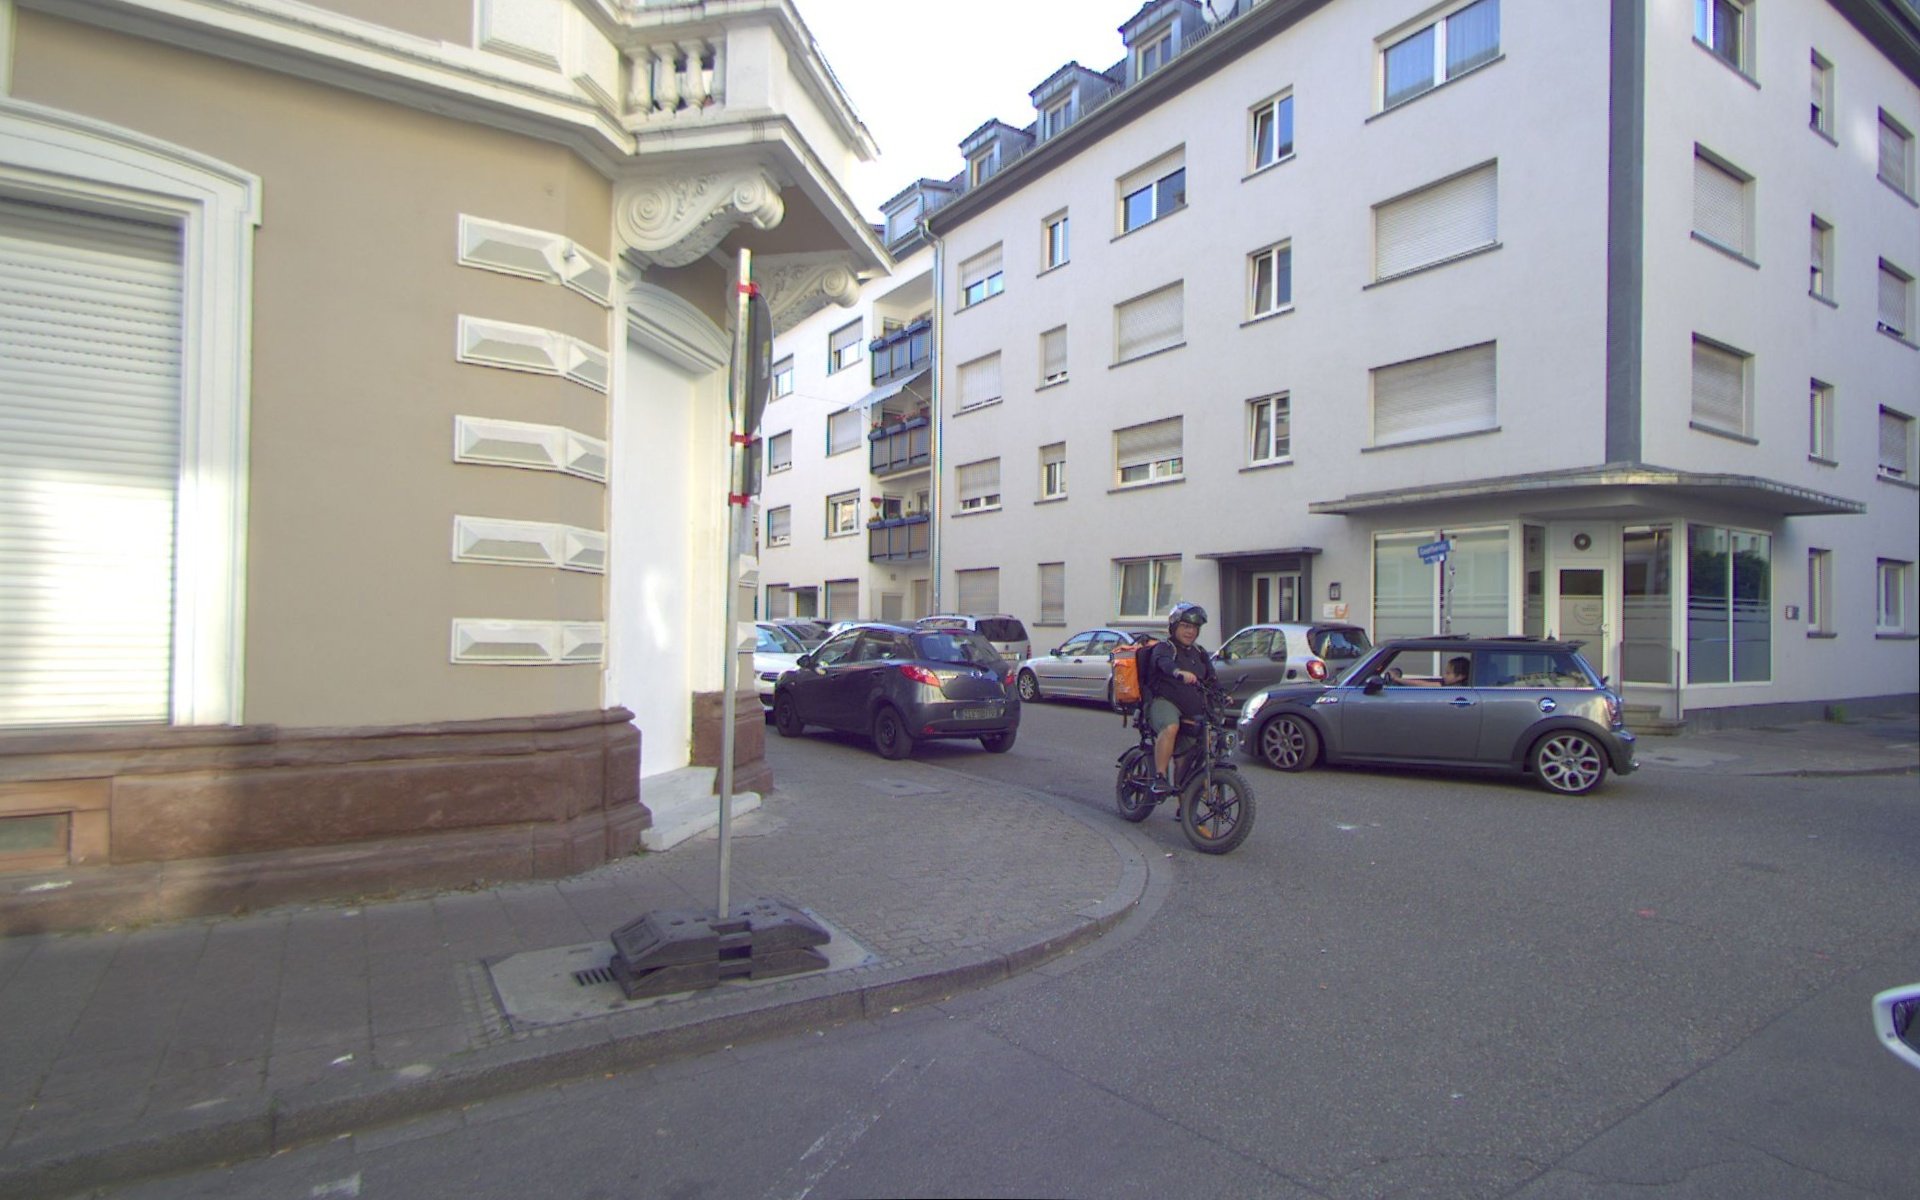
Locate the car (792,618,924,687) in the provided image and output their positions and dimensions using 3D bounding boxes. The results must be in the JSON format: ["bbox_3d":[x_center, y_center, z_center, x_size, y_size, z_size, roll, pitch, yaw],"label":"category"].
[{"bbox_3d":[-2.705,1.296,25.912,1.611,1.581,4.053,1,-1,-35],"label":"car"}]

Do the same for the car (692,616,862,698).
[{"bbox_3d":[-4.057,1.136,21.595,1.979,1.506,4.621,1,-1,-33],"label":"car"}]

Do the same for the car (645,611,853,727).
[{"bbox_3d":[-3.494,0.988,16.065,1.817,1.581,4.053,2,-1,-35],"label":"car"}]

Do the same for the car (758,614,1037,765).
[{"bbox_3d":[-0.876,0.950,12.162,1.672,1.499,3.551,2,-1,-37],"label":"car"}]

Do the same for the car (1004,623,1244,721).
[{"bbox_3d":[2.804,1.185,18.061,1.947,1.472,4.226,1,-1,-32],"label":"car"}]

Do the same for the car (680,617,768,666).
[{"bbox_3d":[-8.138,1.377,34.399,1.574,1.507,3.944,1,-1,-35],"label":"car"}]

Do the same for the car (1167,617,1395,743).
[{"bbox_3d":[4.549,1.070,14.500,1.630,1.586,2.740,1,-1,-32],"label":"car"}]

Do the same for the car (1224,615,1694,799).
[{"bbox_3d":[4.881,0.944,10.307,3.924,1.506,1.999,1,-1,24],"label":"car"}]

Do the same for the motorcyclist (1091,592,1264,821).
[{"bbox_3d":[1.630,0.739,7.626,0.862,1.589,0.993,0,1,-24],"label":"motorcyclist"}]

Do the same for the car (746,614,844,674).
[{"bbox_3d":[-5.026,1.272,30.319,1.640,1.666,3.575,1,-1,-32],"label":"car"}]

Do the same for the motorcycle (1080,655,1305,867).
[{"bbox_3d":[1.676,1.110,7.540,0.796,1.266,1.688,0,1,-24],"label":"motorcycle"}]

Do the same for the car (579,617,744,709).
[{"bbox_3d":[-6.006,1.162,19.919,1.989,1.581,4.054,2,-1,-34],"label":"car"}]

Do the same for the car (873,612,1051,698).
[{"bbox_3d":[-0.058,1.127,22.037,1.979,1.675,4.055,1,-1,-34],"label":"car"}]
